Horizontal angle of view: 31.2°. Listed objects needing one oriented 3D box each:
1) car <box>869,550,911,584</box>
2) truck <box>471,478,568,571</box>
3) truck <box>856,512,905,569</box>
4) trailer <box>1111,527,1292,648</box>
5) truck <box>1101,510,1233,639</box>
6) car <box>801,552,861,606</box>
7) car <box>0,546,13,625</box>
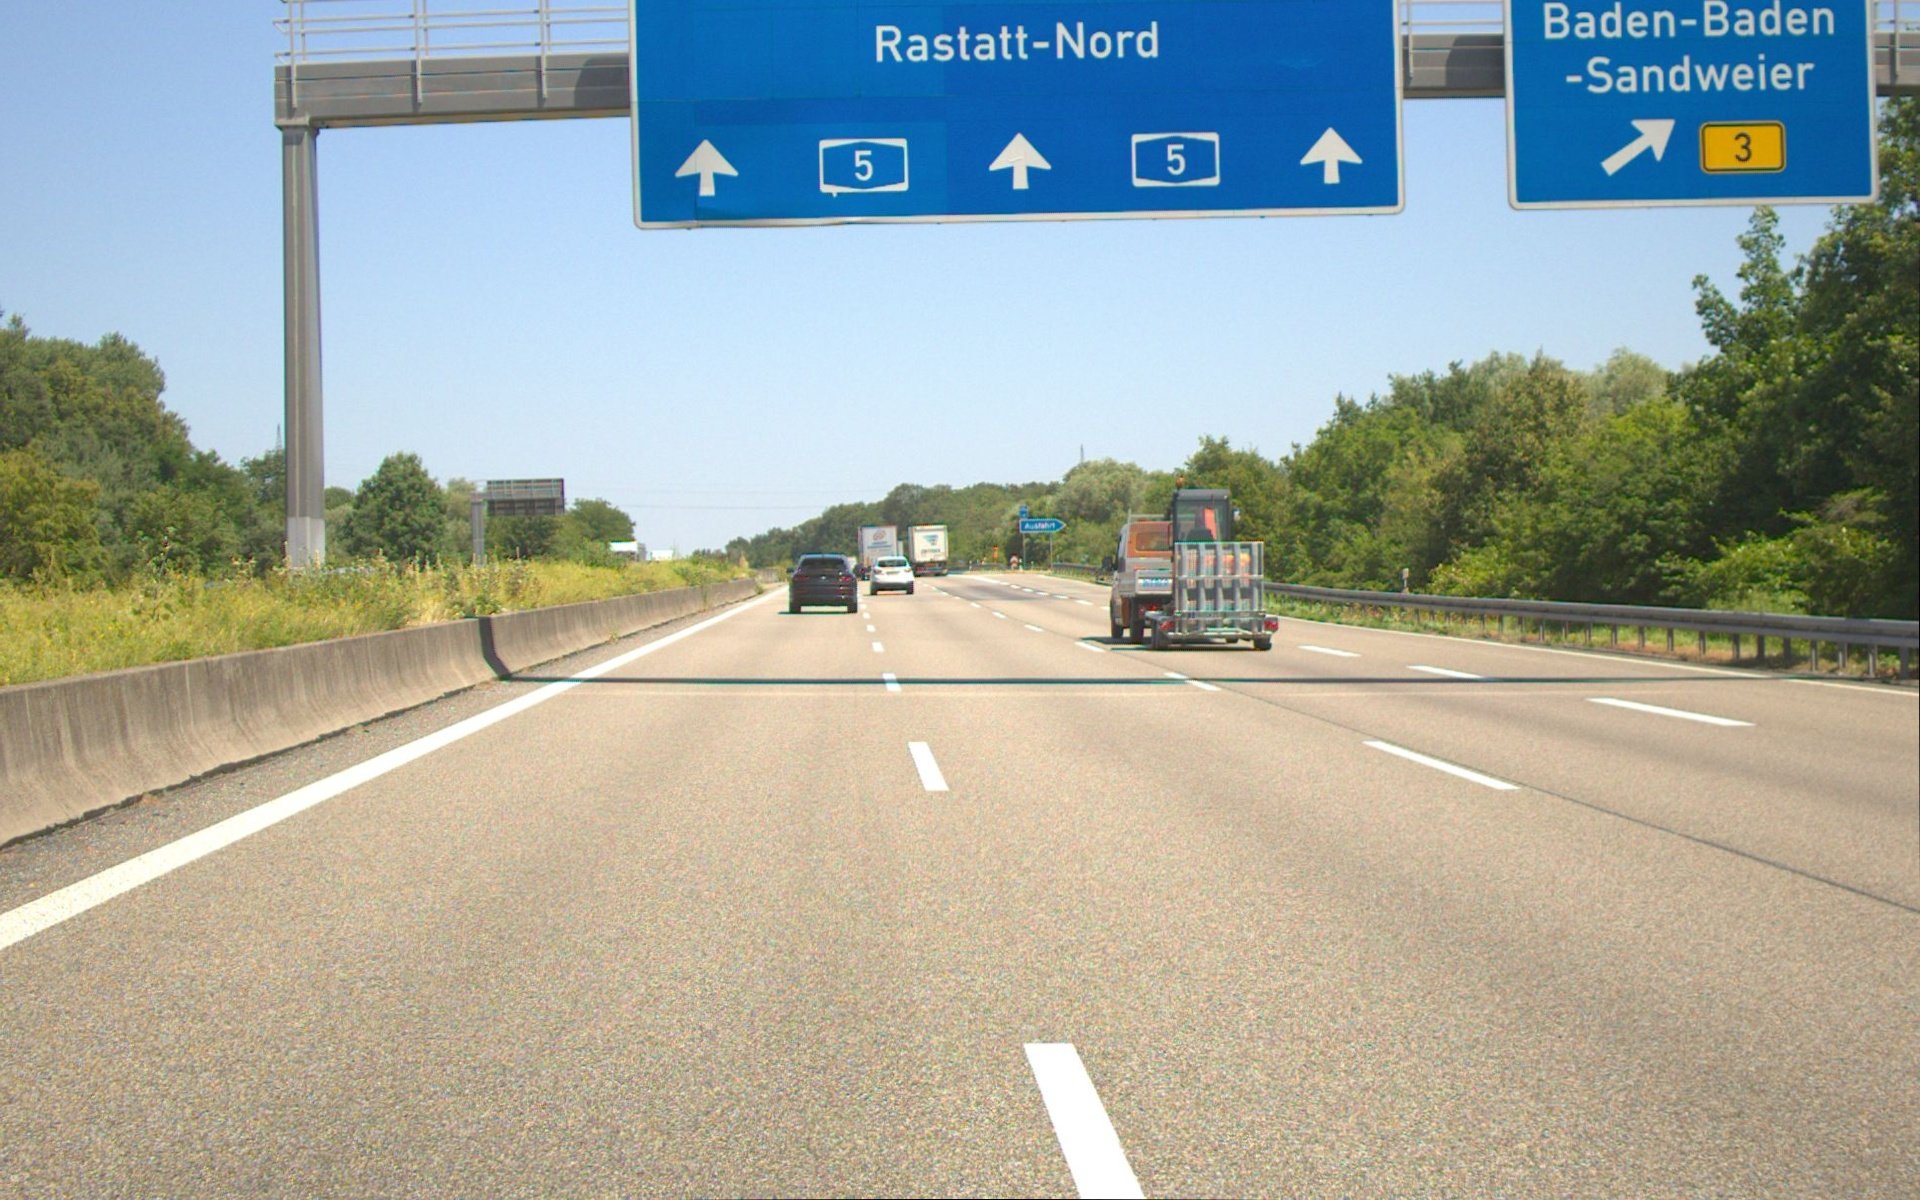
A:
[{"bbox_3d":[-3.065,-1.433,149.614,1.740,1.481,4.000,0,0,-2],"label":"car"},{"bbox_3d":[-33.829,-5.742,264.977,5.421,6.901,17.006,0,1,-1],"label":"truck"},{"bbox_3d":[-5.743,-4.222,247.227,3.309,3.980,8.405,0,0,-3],"label":"truck"},{"bbox_3d":[4.161,-0.249,60.431,2.420,2.007,6.034,0,1,-3],"label":"trailer"},{"bbox_3d":[3.917,-0.505,65.777,1.993,2.365,4.645,0,1,-3],"label":"truck"},{"bbox_3d":[-3.834,-0.641,101.718,1.660,1.544,3.784,-1,1,-3],"label":"car"},{"bbox_3d":[-25.185,-0.342,85.254,1.993,2.007,5.186,0,1,-1],"label":"car"}]
